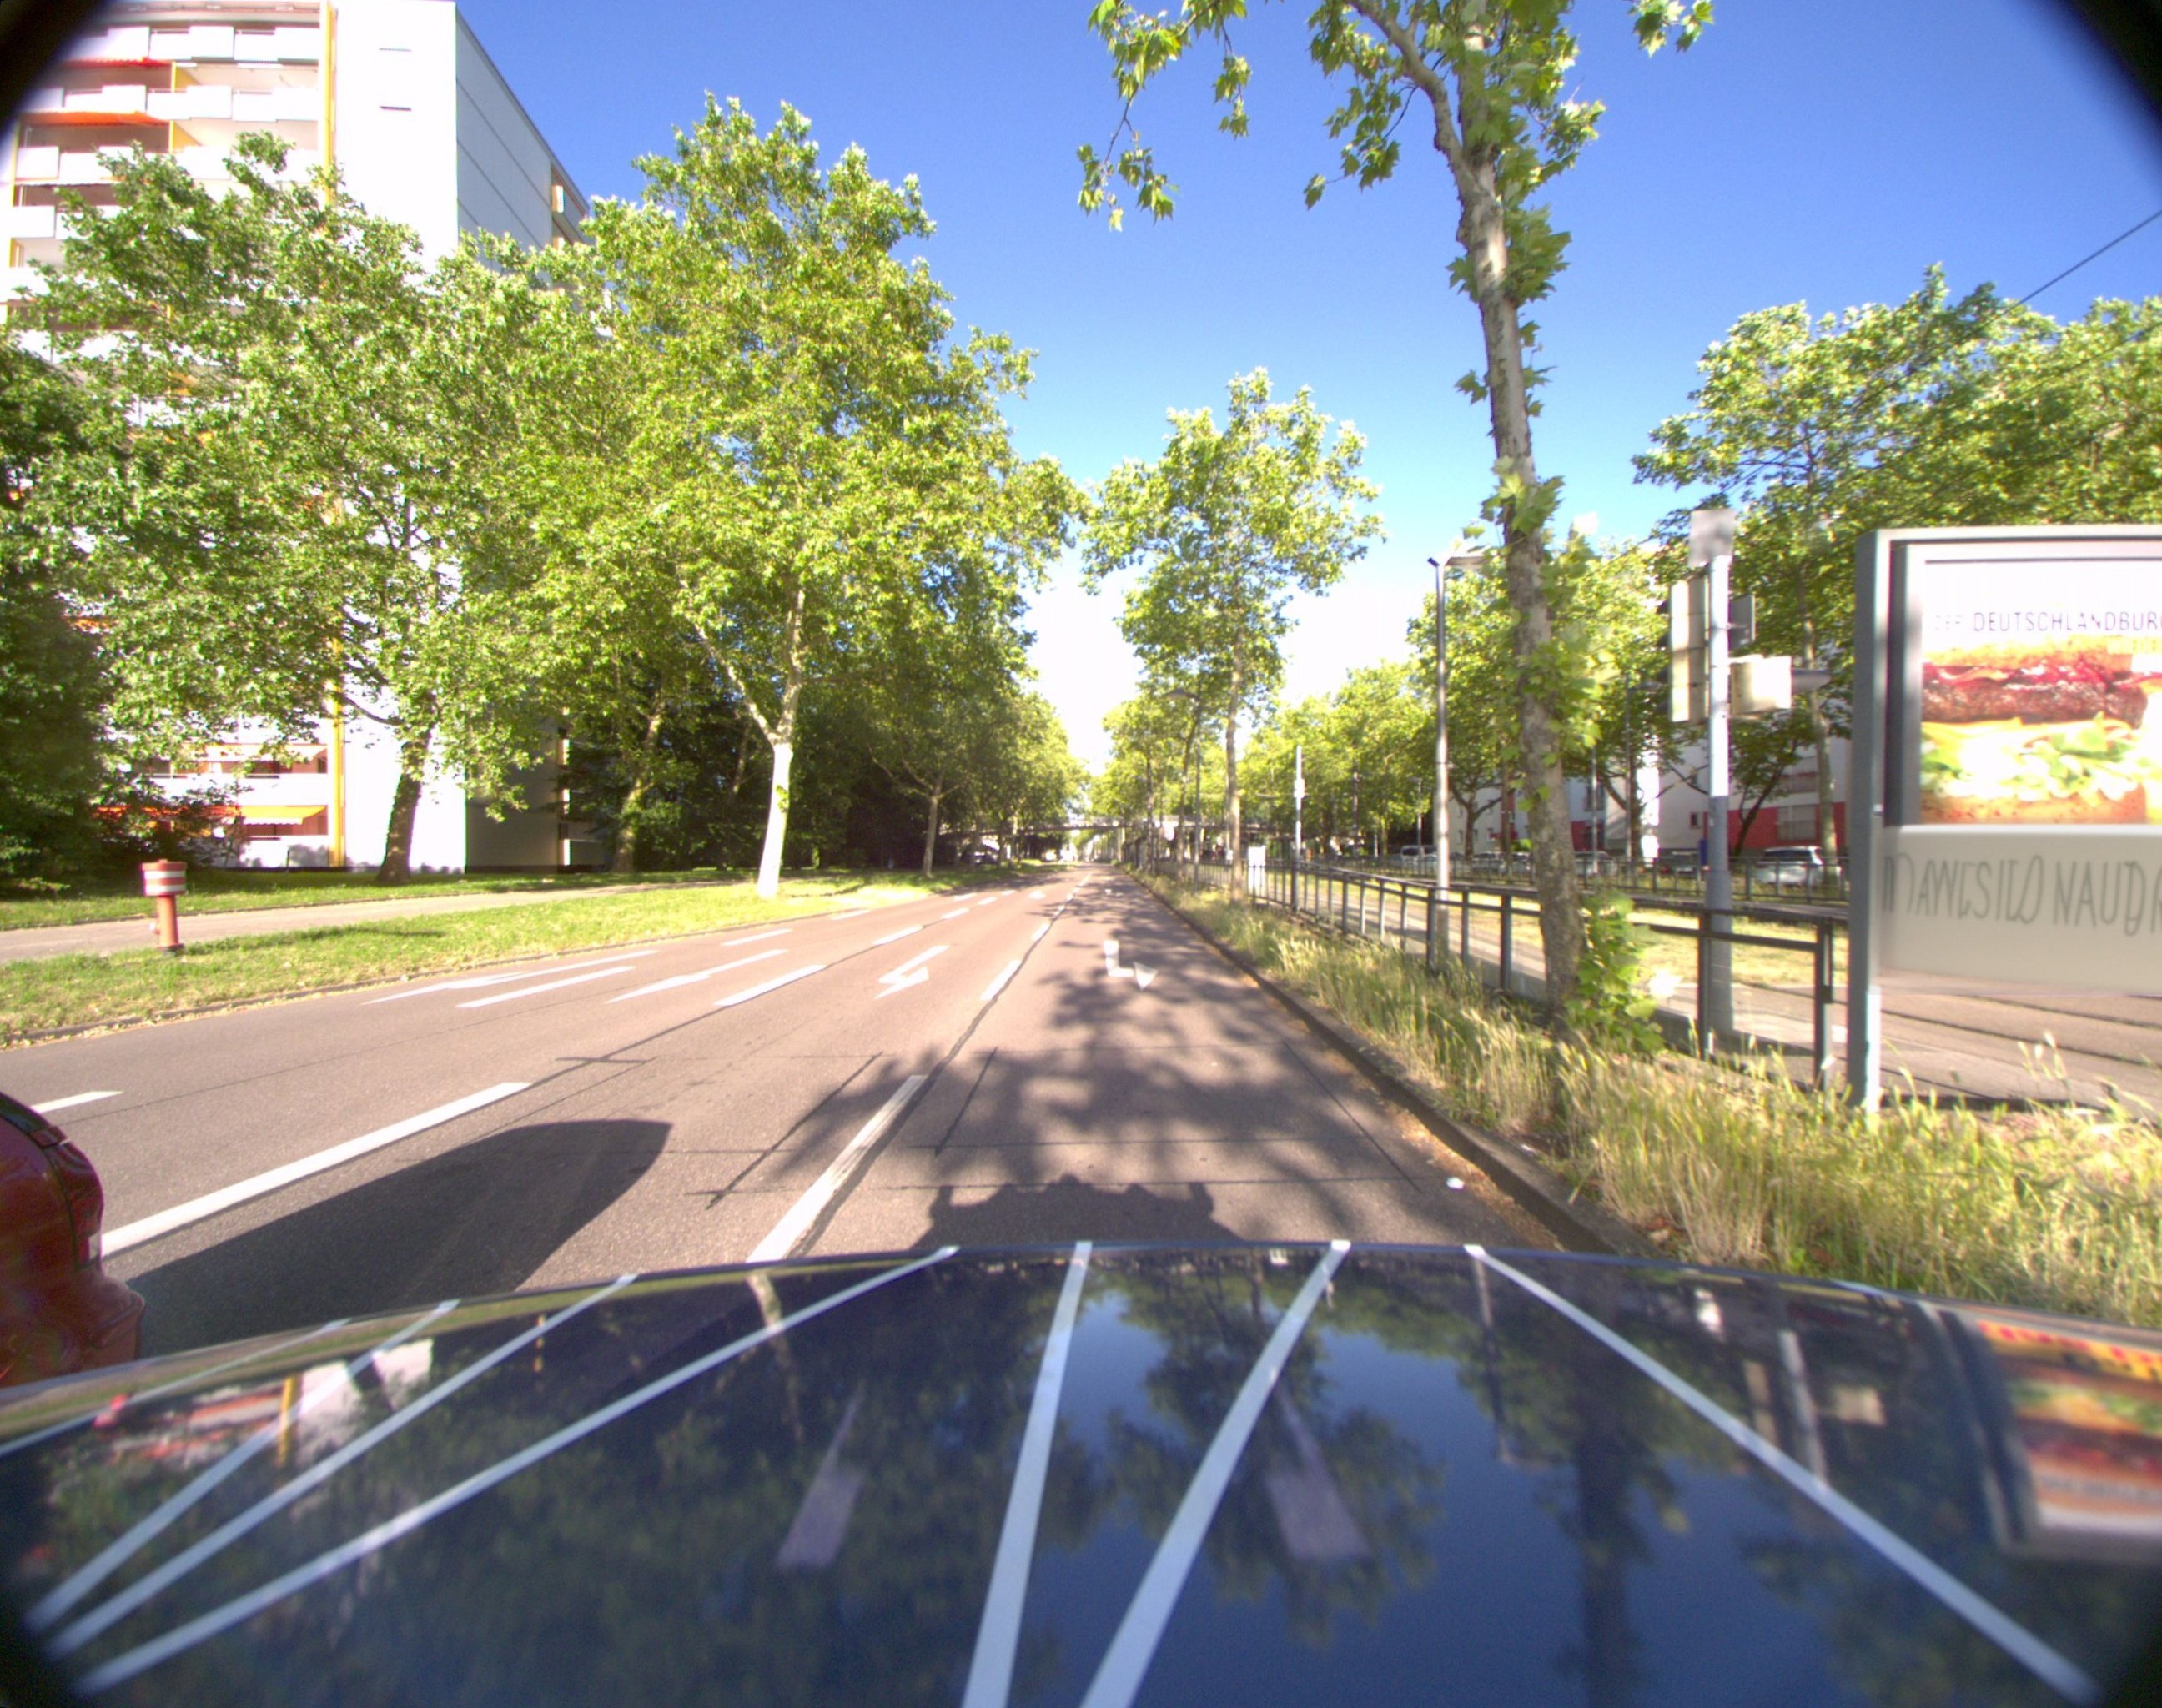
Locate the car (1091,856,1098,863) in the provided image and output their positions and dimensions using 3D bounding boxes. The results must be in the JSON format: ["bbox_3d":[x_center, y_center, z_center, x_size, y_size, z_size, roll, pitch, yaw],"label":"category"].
[{"bbox_3d":[3.187,1.295,181.386,1.580,1.395,3.638,-2,0,0],"label":"car"}]

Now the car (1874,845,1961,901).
[{"bbox_3d":[25.253,0.520,22.955,3.811,1.501,1.652,-2,0,-42],"label":"car"}]

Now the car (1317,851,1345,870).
[{"bbox_3d":[21.286,0.520,64.704,1.579,1.548,2.817,-2,0,3],"label":"car"}]

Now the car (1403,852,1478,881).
[{"bbox_3d":[20.156,0.664,42.831,1.656,1.501,4.640,-2,0,-5],"label":"car"}]

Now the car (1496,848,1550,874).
[{"bbox_3d":[26.108,0.403,44.852,3.811,1.433,1.652,-2,0,-42],"label":"car"}]

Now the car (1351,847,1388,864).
[{"bbox_3d":[26.630,0.131,70.122,3.811,1.433,1.652,-2,0,-42],"label":"car"}]

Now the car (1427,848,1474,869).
[{"bbox_3d":[26.312,0.306,54.020,3.811,1.433,1.652,-2,0,-42],"label":"car"}]

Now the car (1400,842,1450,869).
[{"bbox_3d":[25.829,0.085,57.018,4.330,1.863,1.836,-2,0,-42],"label":"car"}]

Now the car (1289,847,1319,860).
[{"bbox_3d":[26.451,-0.052,89.963,3.811,1.433,1.652,-2,0,-42],"label":"car"}]

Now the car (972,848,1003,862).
[{"bbox_3d":[-14.621,0.138,118.520,4.720,1.924,1.906,-2,0,-8],"label":"car"}]

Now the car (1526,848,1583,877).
[{"bbox_3d":[25.873,0.439,41.467,3.811,1.433,1.652,-2,0,-42],"label":"car"}]

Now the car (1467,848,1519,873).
[{"bbox_3d":[25.861,0.394,47.667,3.811,1.433,1.652,-2,0,-42],"label":"car"}]

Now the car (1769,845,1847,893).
[{"bbox_3d":[25.367,0.486,26.463,3.811,1.501,1.652,-2,0,-42],"label":"car"}]

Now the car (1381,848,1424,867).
[{"bbox_3d":[25.740,0.265,60.740,3.811,1.433,1.652,-2,0,-42],"label":"car"}]

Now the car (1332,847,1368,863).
[{"bbox_3d":[26.077,0.130,73.553,3.811,1.433,1.652,-2,0,-42],"label":"car"}]

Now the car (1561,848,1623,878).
[{"bbox_3d":[25.392,0.444,37.686,3.811,1.348,1.652,-2,0,-42],"label":"car"}]

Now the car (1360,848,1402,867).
[{"bbox_3d":[24.954,0.268,63.197,3.811,1.433,1.652,-2,0,-42],"label":"car"}]
